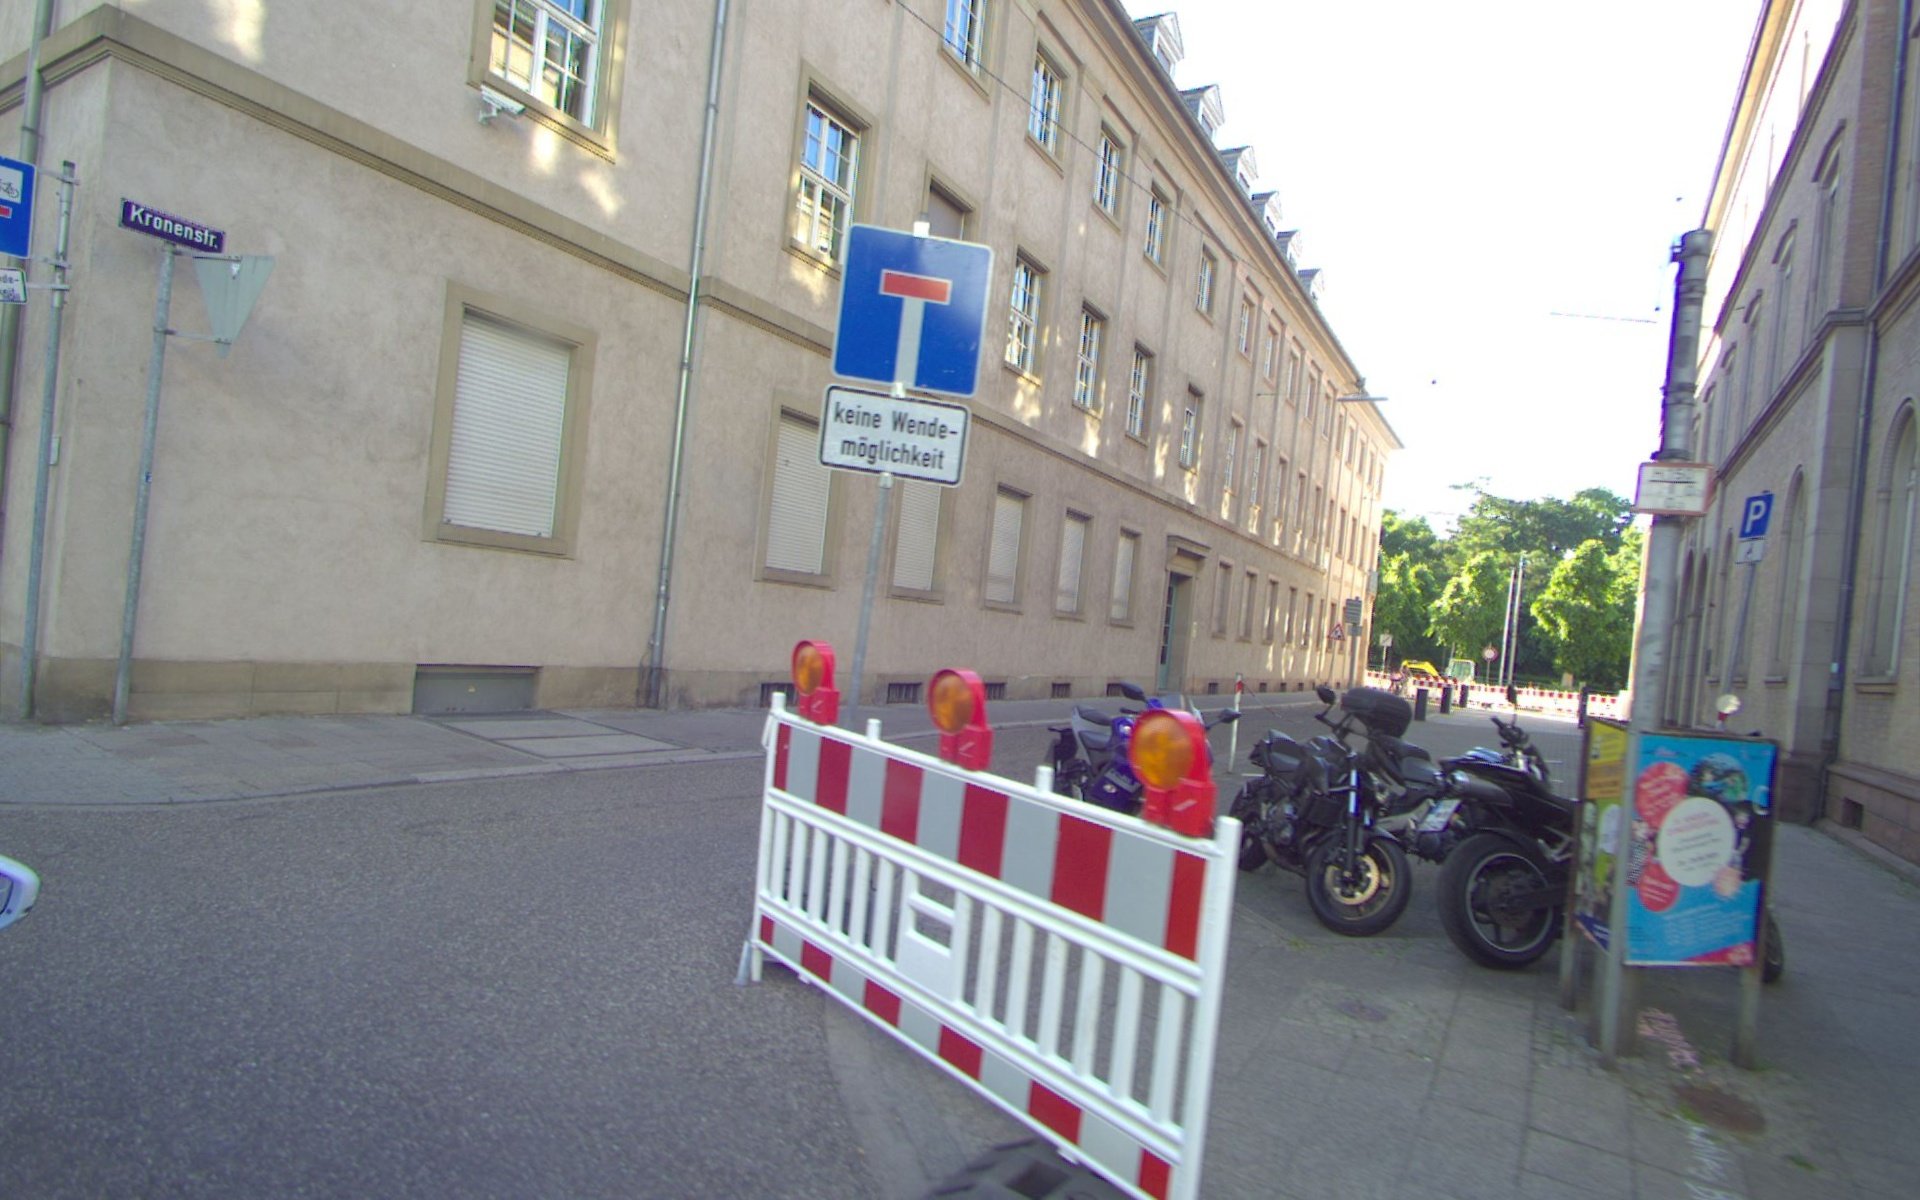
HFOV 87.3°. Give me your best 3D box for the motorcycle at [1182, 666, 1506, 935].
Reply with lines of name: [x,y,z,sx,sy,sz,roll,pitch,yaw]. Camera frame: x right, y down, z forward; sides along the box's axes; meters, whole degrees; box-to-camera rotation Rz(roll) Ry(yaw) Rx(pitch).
motorcycle: [2.254,1.134,6.264,0.816,1.240,1.949,6,0,-14]

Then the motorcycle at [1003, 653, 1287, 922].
motorcycle: [1.018,1.040,6.258,0.861,1.240,2.144,4,0,-14]

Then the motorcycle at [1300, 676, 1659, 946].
motorcycle: [3.293,1.283,6.704,0.816,1.304,2.139,6,0,-14]

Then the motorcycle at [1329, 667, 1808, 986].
motorcycle: [2.992,1.108,4.985,2.046,1.350,0.705,5,0,-14]
